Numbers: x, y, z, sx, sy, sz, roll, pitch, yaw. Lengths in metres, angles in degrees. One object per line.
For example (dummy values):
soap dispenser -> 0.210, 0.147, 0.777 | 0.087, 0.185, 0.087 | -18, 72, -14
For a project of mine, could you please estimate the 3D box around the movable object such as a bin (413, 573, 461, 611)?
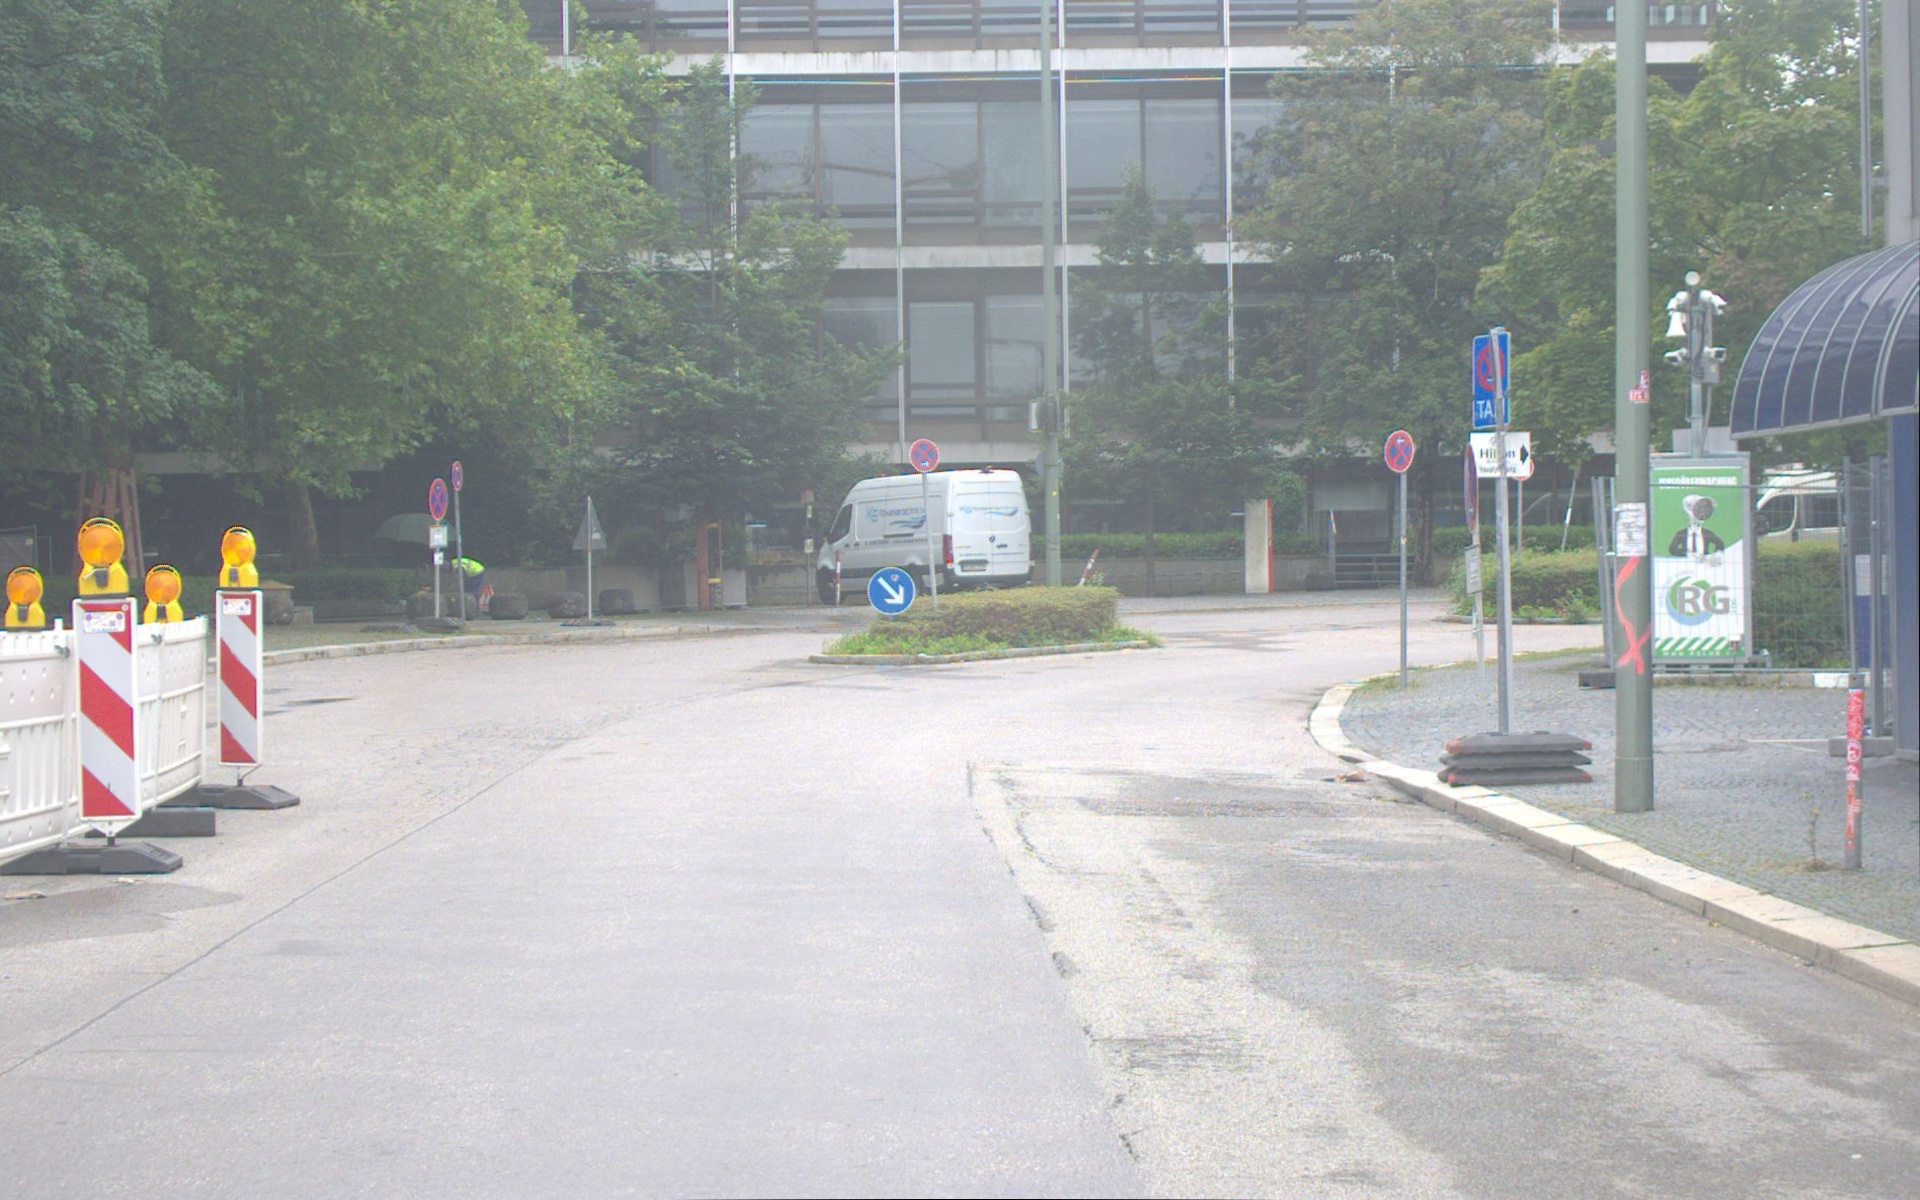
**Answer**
movable object such as a bin -> -10.323, -0.160, 67.851 | 0.834, 0.751, 0.572 | 0, 1, 2

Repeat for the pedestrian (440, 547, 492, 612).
pedestrian -> -9.757, -0.411, 67.889 | 0.926, 1.273, 0.542 | 0, 1, 1

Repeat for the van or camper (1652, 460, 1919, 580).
van or camper -> 16.986, -1.583, 67.298 | 6.396, 2.273, 2.256 | -1, 1, -14

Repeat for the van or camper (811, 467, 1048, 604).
van or camper -> -0.706, -1.256, 70.112 | 2.155, 2.572, 6.540 | 0, -1, -26
